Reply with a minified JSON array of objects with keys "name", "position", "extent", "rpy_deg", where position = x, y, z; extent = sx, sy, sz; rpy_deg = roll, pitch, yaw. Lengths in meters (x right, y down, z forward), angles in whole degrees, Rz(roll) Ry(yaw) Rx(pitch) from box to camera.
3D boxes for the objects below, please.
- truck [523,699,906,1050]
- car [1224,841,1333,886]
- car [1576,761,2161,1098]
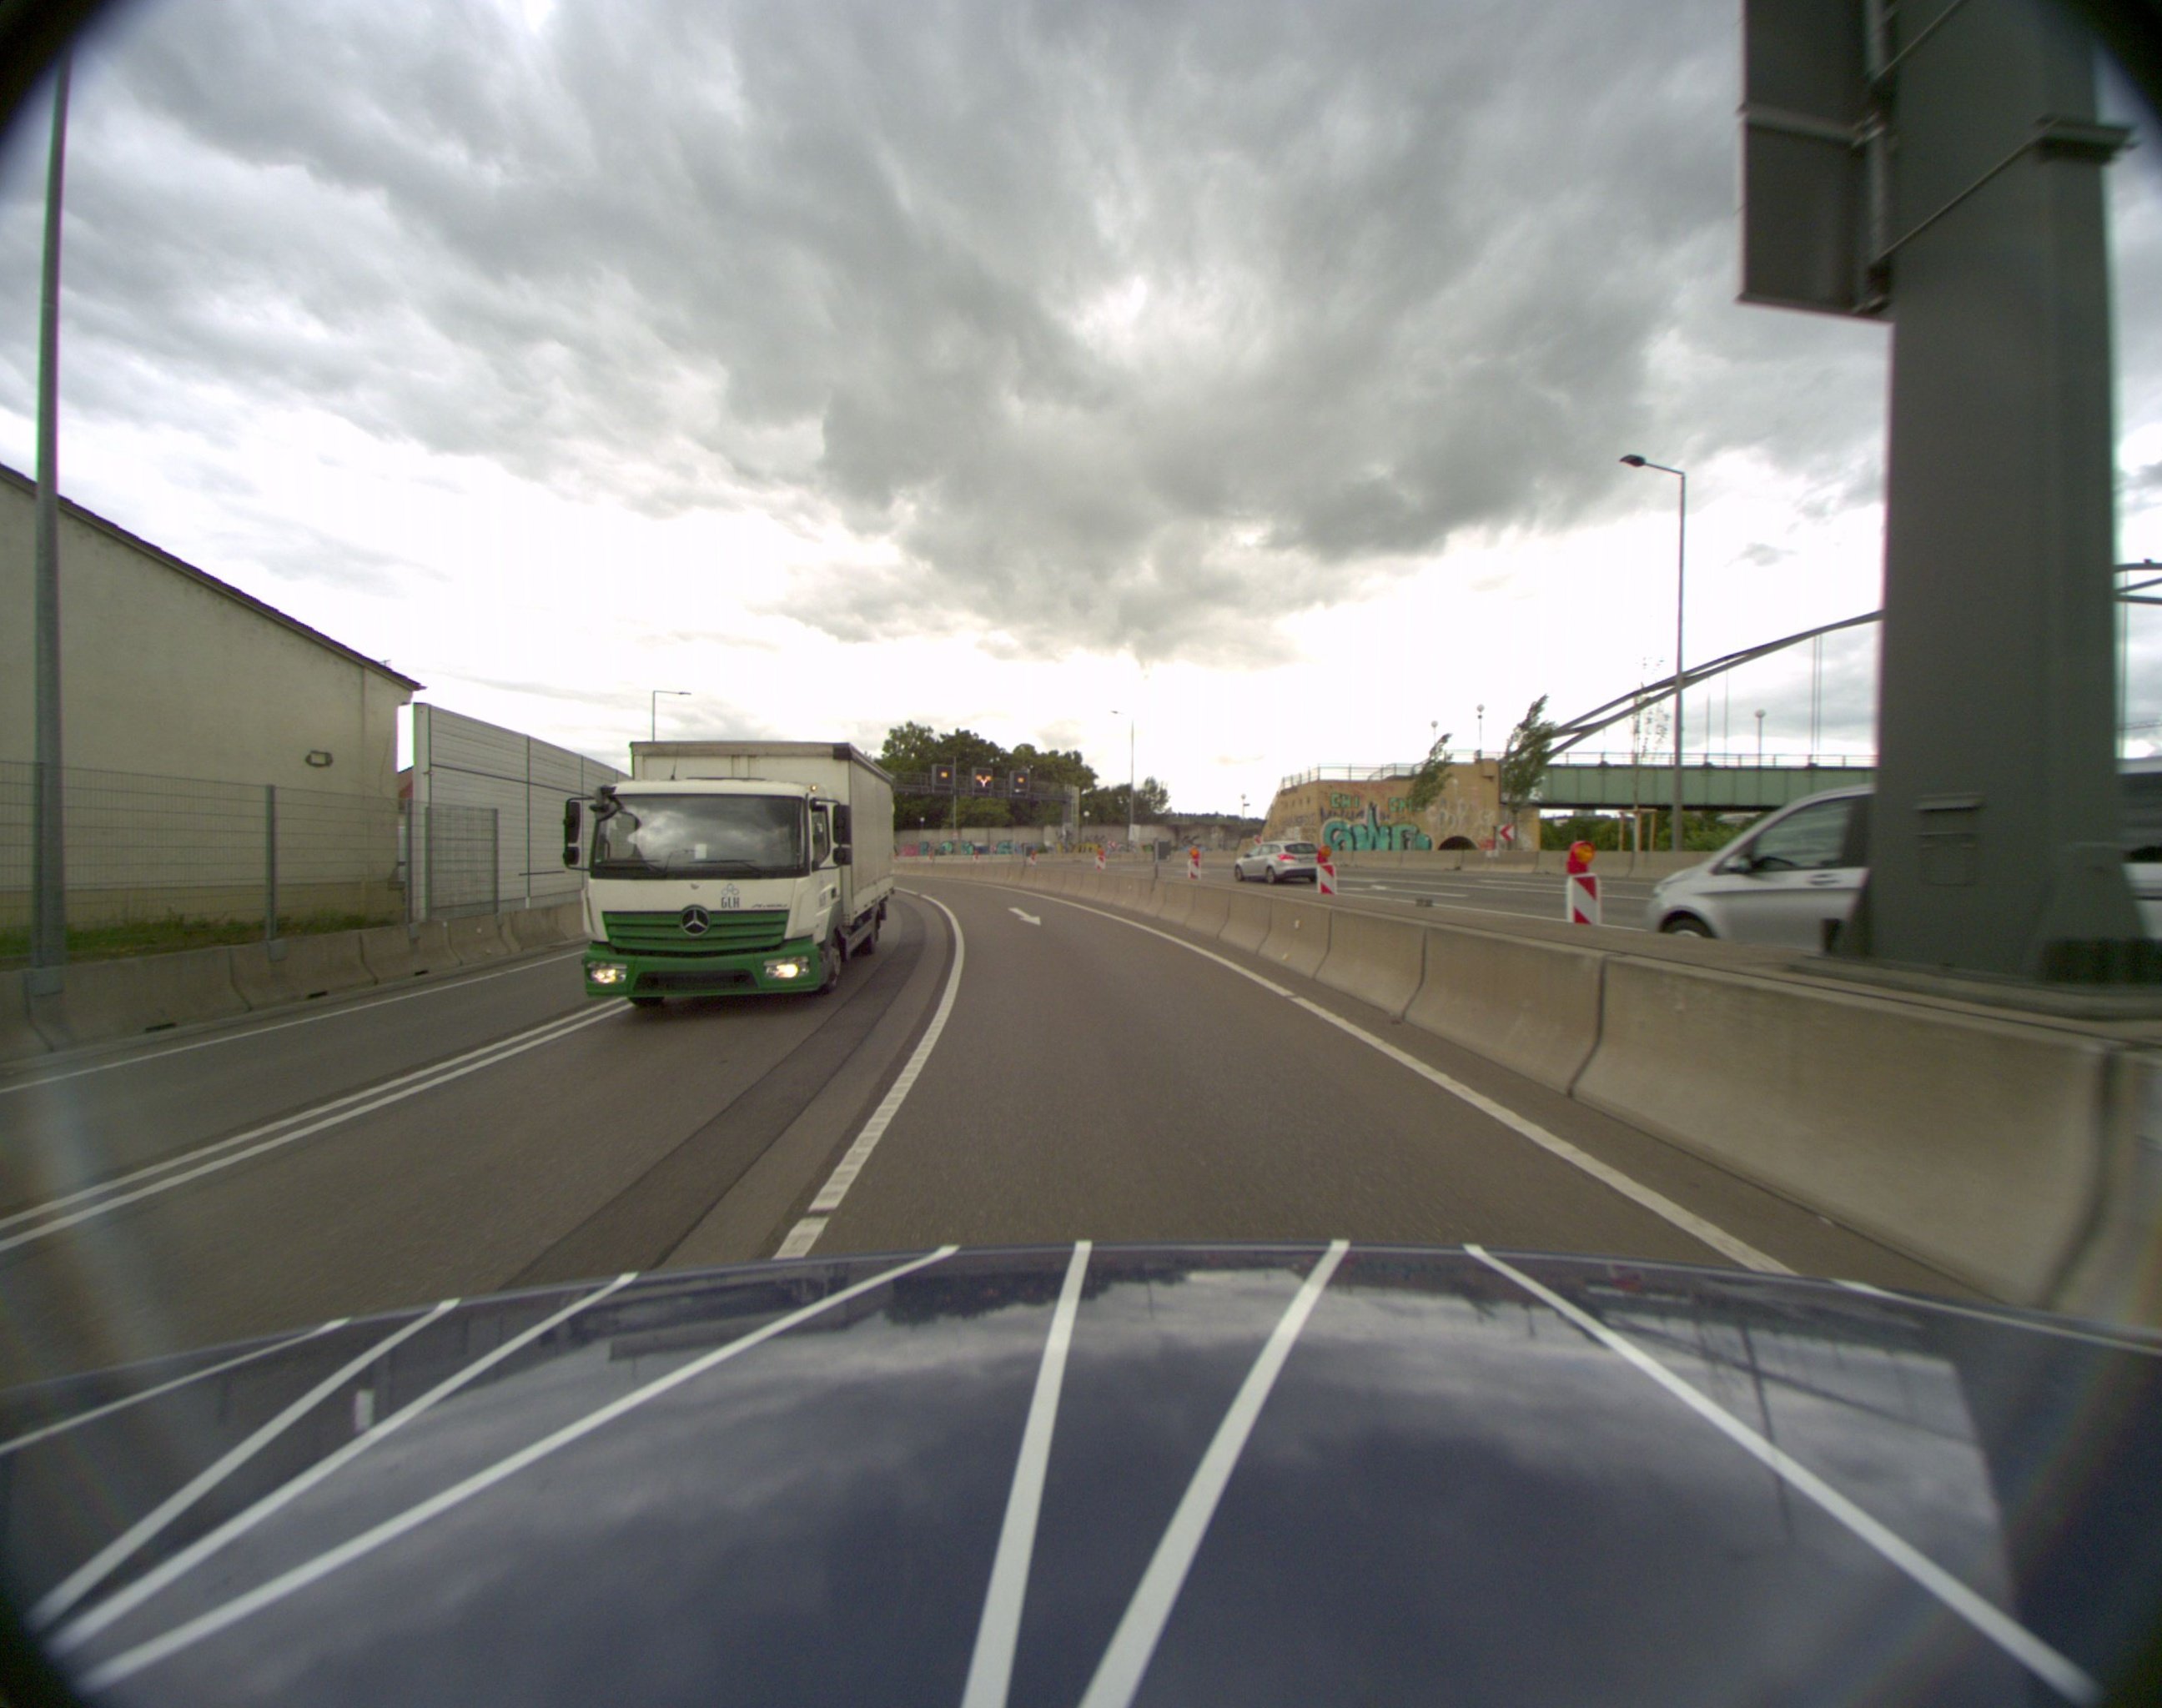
[{"name":"truck","position":[-4.307,0.151,10.969],"extent":[2.638,3.220,7.410],"rpy_deg":[-3,1,-8]},{"name":"car","position":[6.888,0.284,27.056],"extent":[1.800,1.413,4.643],"rpy_deg":[-2,1,-12]},{"name":"car","position":[6.695,0.350,5.814],"extent":[1.956,1.796,5.791],"rpy_deg":[-2,1,-1]}]
